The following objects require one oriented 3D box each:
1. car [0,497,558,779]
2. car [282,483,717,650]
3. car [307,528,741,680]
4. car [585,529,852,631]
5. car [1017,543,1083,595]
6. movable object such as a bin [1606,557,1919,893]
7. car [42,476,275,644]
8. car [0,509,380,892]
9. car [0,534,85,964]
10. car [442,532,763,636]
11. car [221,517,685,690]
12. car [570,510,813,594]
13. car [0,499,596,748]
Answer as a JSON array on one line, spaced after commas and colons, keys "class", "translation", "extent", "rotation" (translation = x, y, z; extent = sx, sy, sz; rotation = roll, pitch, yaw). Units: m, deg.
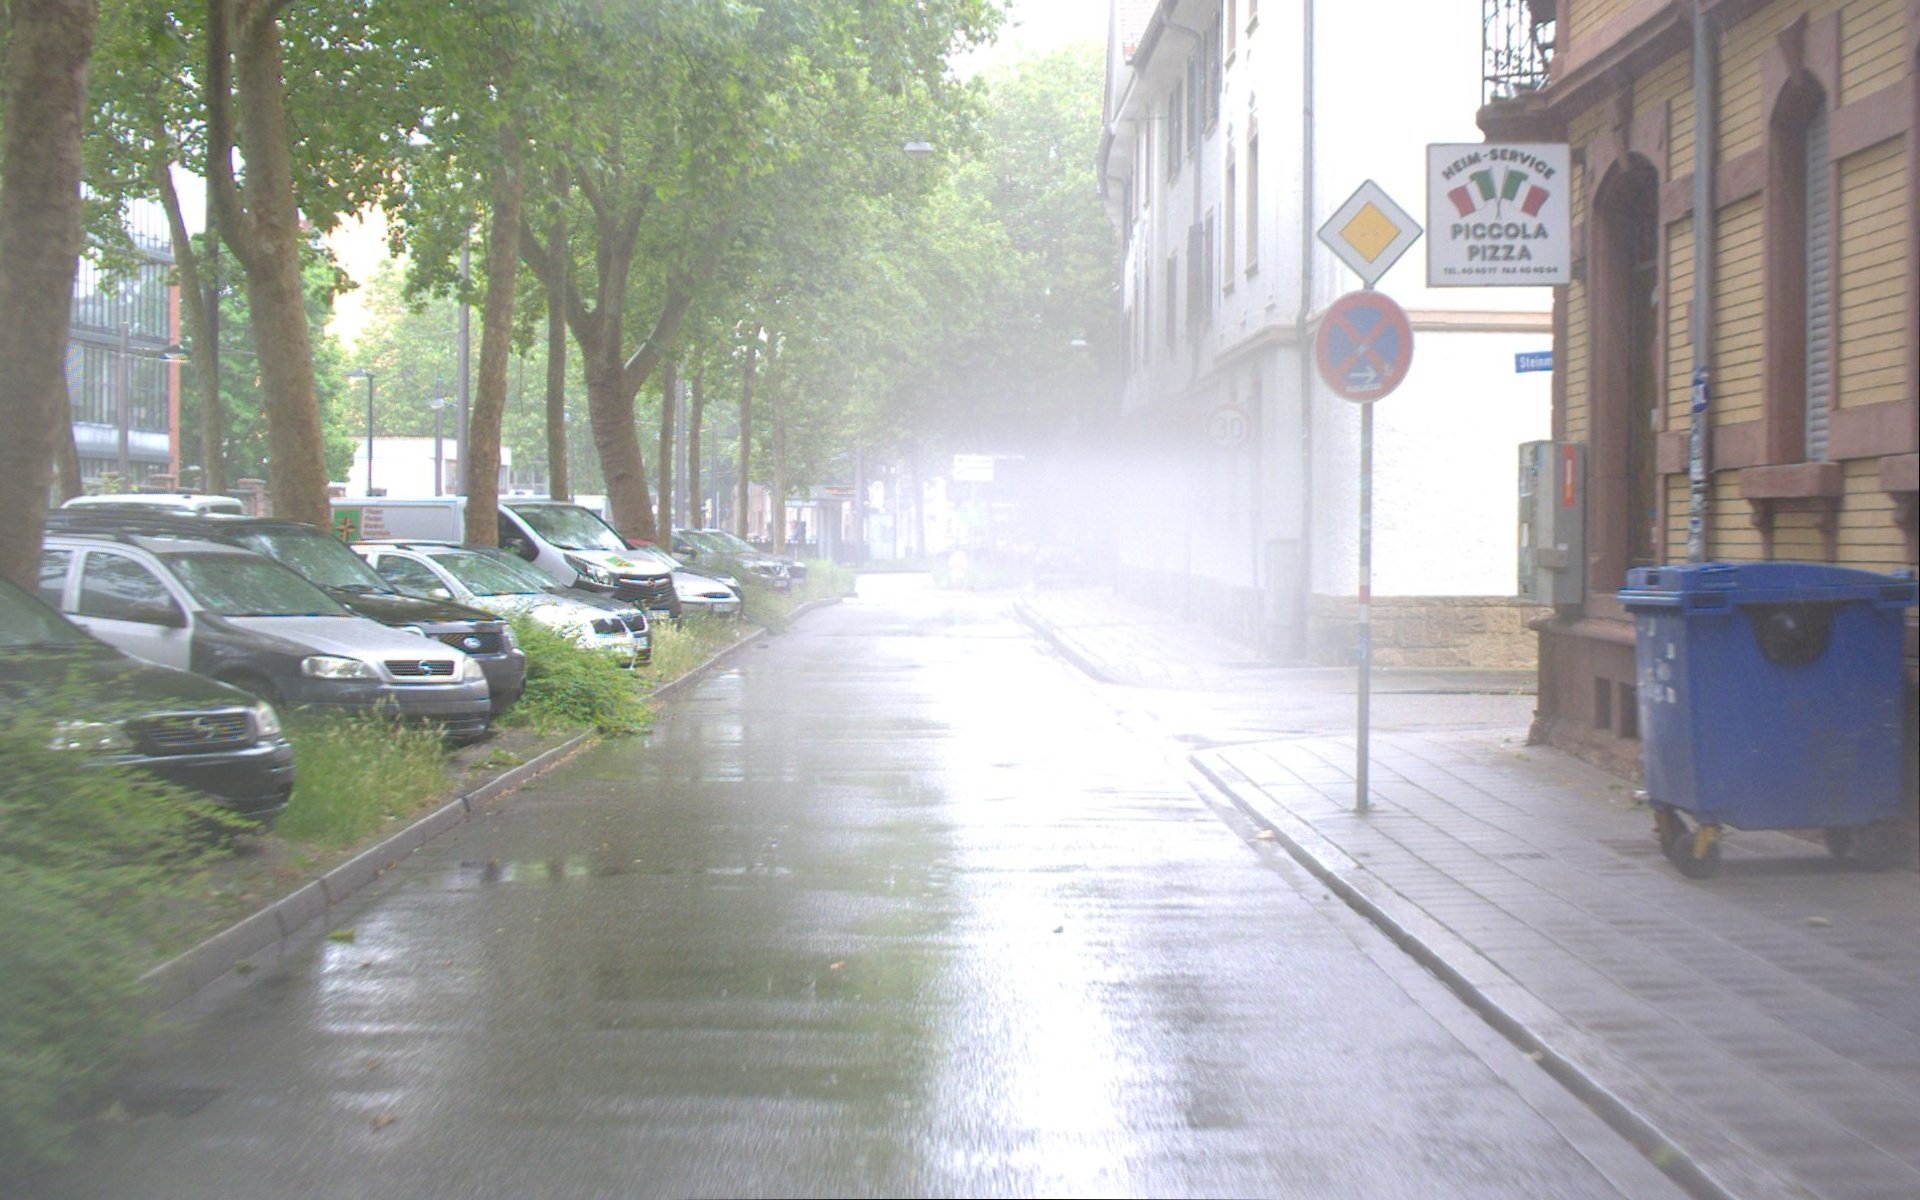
[{"class": "car", "translation": [-4.923, 0.232, 21.967], "extent": [4.411, 1.640, 1.869], "rotation": [-1, 1, 31]}, {"class": "car", "translation": [-5.759, -0.417, 42.784], "extent": [5.124, 1.970, 2.099], "rotation": [0, 1, 30]}, {"class": "car", "translation": [-4.626, 0.003, 36.381], "extent": [4.308, 1.432, 1.745], "rotation": [2, 2, 26]}, {"class": "car", "translation": [-3.752, -0.310, 53.378], "extent": [3.811, 1.516, 1.719], "rotation": [0, 1, 31]}, {"class": "car", "translation": [2.946, -1.045, 113.344], "extent": [1.993, 1.634, 4.000], "rotation": [1, 1, -1]}, {"class": "movable object such as a bin", "translation": [3.479, 0.510, 14.895], "extent": [1.021, 1.297, 1.367], "rotation": [-3, 2, -1]}, {"class": "car", "translation": [-10.096, -0.552, 43.685], "extent": [2.037, 1.993, 5.160], "rotation": [0, 2, -3]}, {"class": "car", "translation": [-4.826, 0.336, 15.295], "extent": [4.223, 1.474, 1.741], "rotation": [2, 2, 27]}, {"class": "car", "translation": [-5.119, 0.478, 12.353], "extent": [3.648, 1.474, 1.741], "rotation": [2, 2, 30]}, {"class": "car", "translation": [-5.347, -0.232, 51.262], "extent": [4.553, 1.477, 1.772], "rotation": [0, 1, 30]}, {"class": "car", "translation": [-4.833, -0.005, 32.771], "extent": [4.061, 1.494, 1.745], "rotation": [2, 2, 23]}, {"class": "car", "translation": [-5.361, -0.985, 68.561], "extent": [4.464, 1.591, 1.921], "rotation": [1, 2, 26]}, {"class": "car", "translation": [-5.013, 0.116, 24.776], "extent": [4.410, 1.654, 1.927], "rotation": [0, 2, 27]}]
